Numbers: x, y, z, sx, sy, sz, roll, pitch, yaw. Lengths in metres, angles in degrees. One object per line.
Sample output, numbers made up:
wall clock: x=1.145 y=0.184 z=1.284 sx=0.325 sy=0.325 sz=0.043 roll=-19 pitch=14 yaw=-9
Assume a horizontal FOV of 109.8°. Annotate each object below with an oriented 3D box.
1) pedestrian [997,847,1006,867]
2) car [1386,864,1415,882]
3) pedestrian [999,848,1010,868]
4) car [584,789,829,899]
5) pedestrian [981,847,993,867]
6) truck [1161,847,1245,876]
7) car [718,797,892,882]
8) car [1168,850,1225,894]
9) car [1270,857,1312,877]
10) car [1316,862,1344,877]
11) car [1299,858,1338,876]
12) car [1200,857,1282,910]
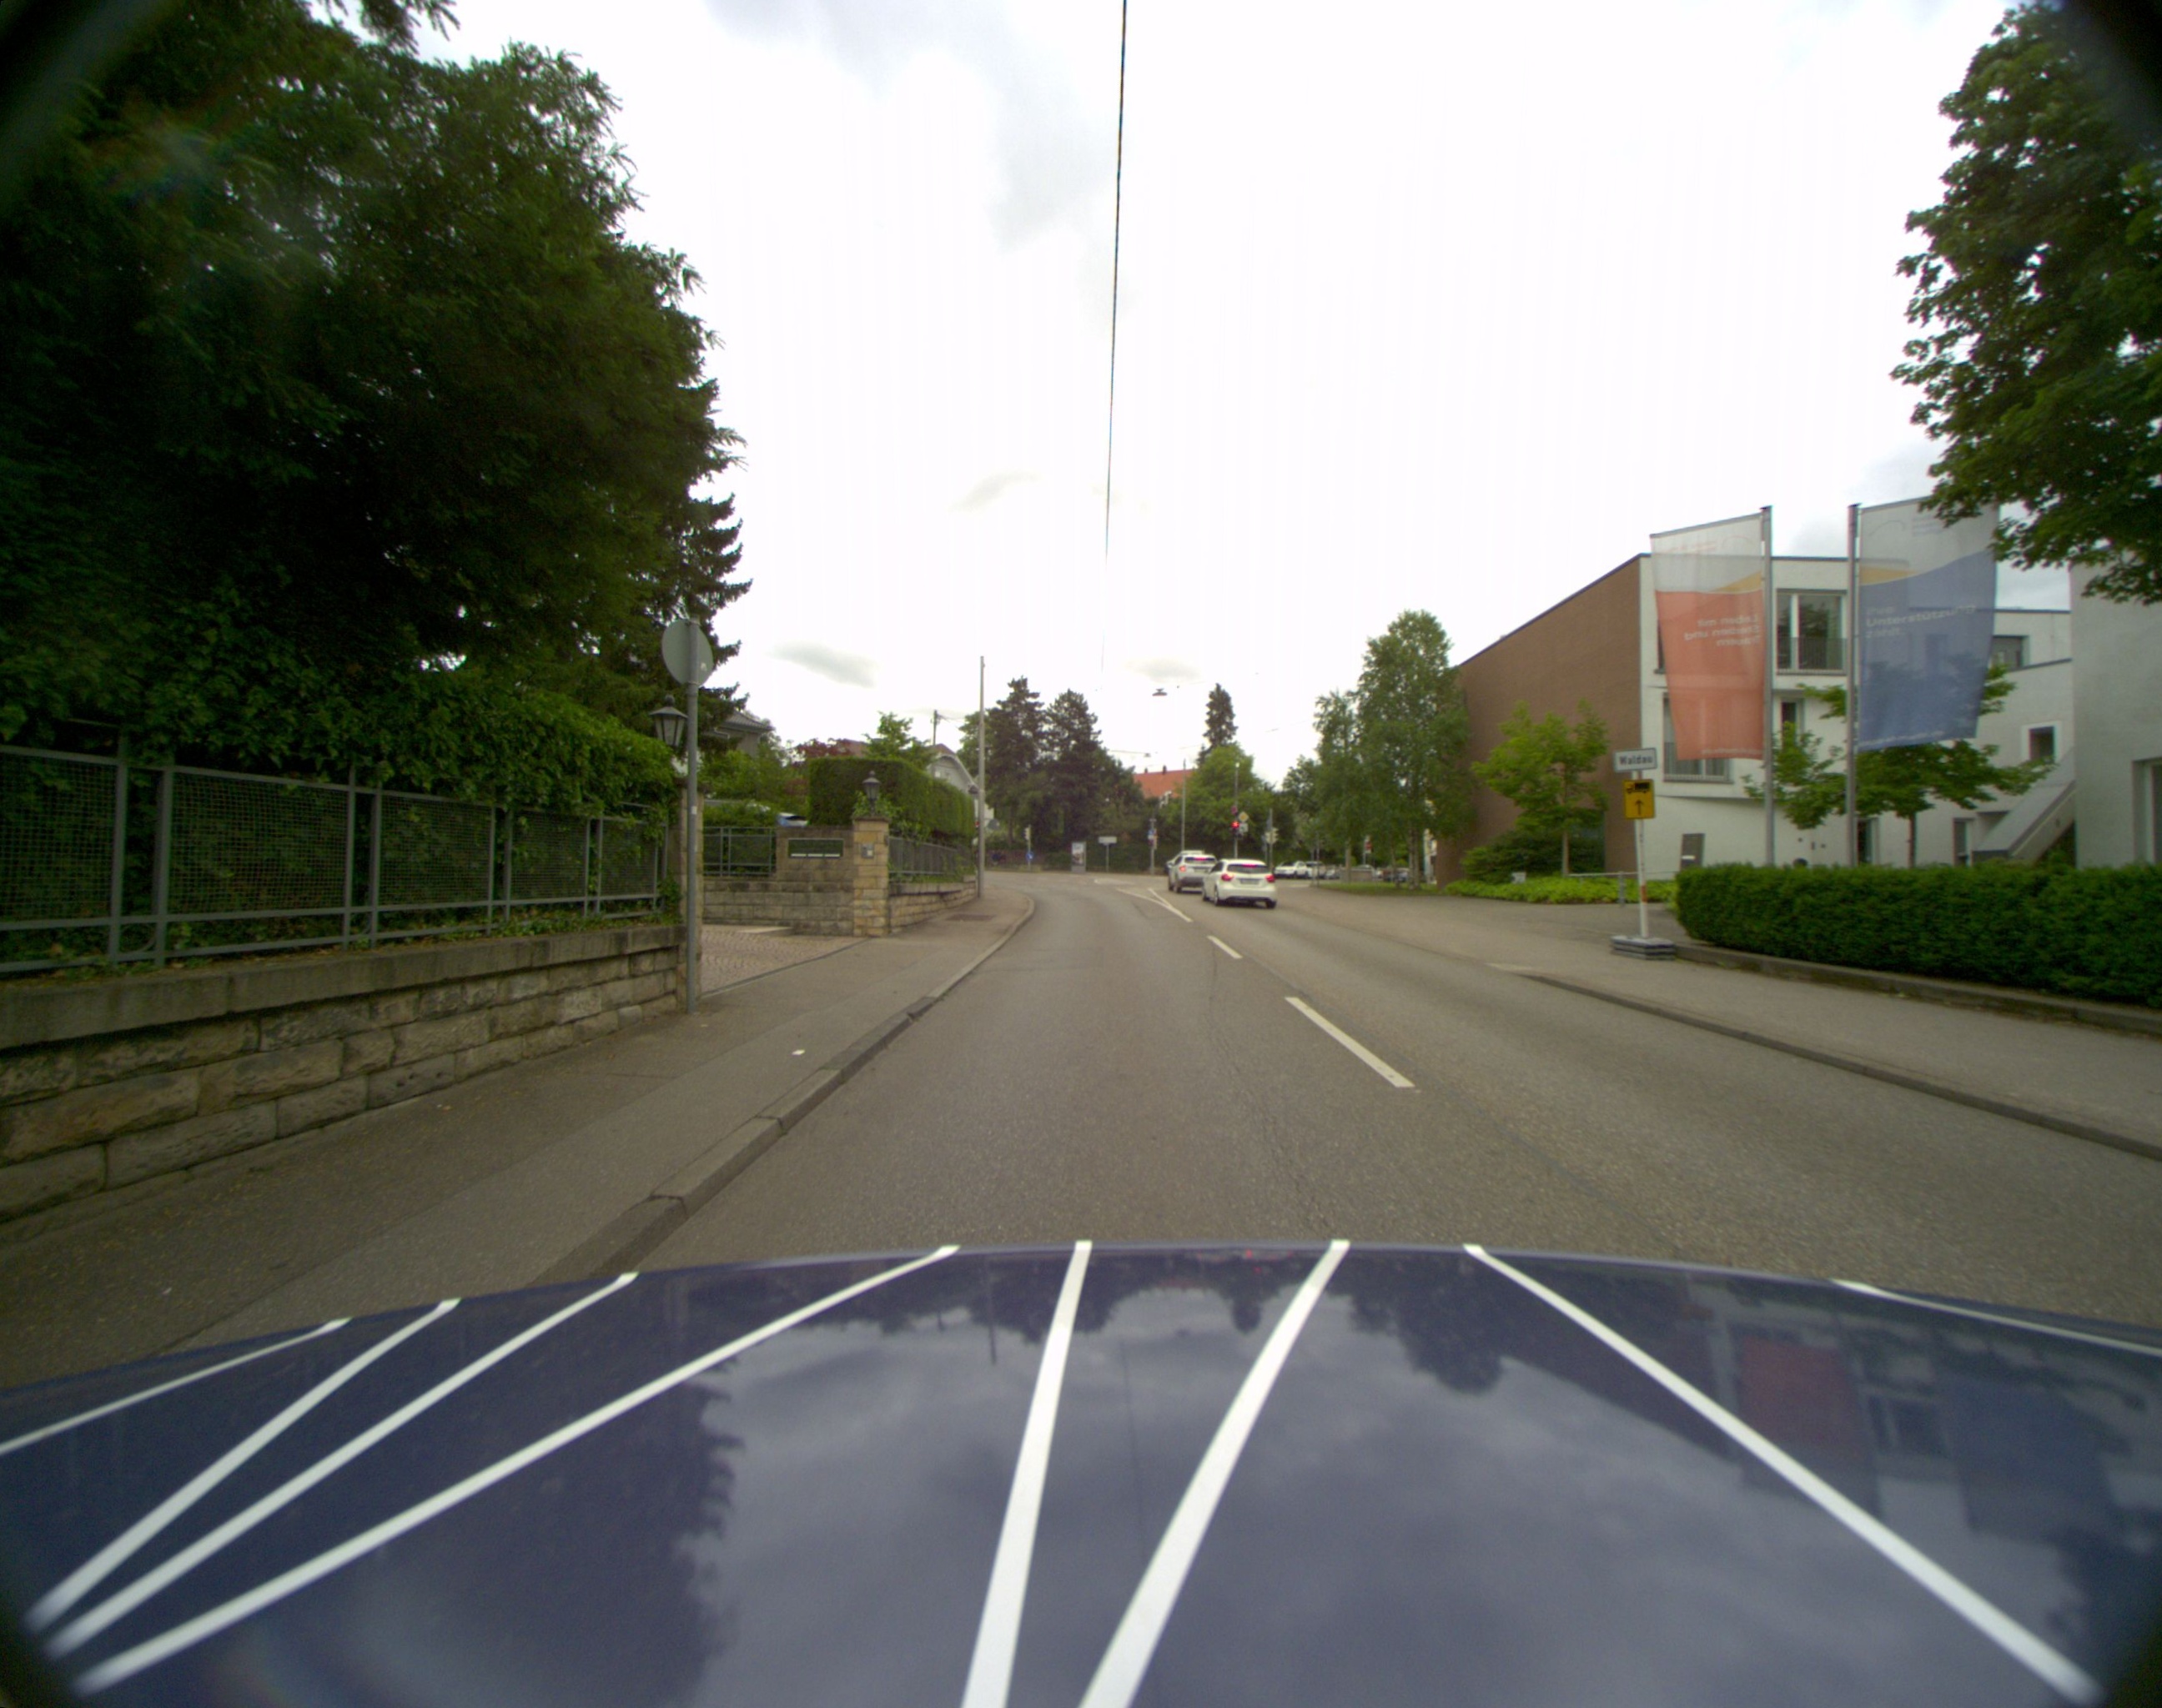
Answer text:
pedestrian: x=-7.370 y=0.244 z=70.354 sx=0.611 sy=1.824 sz=0.605 roll=2 pitch=0 yaw=28
car: x=26.568 y=1.555 z=63.085 sx=1.876 sy=1.440 sz=4.008 roll=2 pitch=0 yaw=27
pedestrian: x=-6.908 y=0.323 z=68.604 sx=0.665 sy=1.777 sz=0.614 roll=2 pitch=0 yaw=27
car: x=-7.761 y=-0.202 z=16.055 sx=3.997 sy=1.603 sz=2.000 roll=9 pitch=1 yaw=0
pedestrian: x=-8.697 y=0.263 z=70.400 sx=0.686 sy=1.803 sz=0.882 roll=2 pitch=1 yaw=30
truck: x=10.141 y=0.587 z=63.167 sx=6.706 sy=2.176 sz=2.532 roll=2 pitch=1 yaw=12
car: x=-7.220 y=-0.382 z=20.161 sx=3.749 sy=1.603 sz=1.814 roll=9 pitch=1 yaw=0
car: x=4.709 y=0.703 z=31.573 sx=1.773 sy=1.628 sz=4.302 roll=3 pitch=0 yaw=2
car: x=18.098 y=1.098 z=65.433 sx=1.994 sy=1.603 sz=4.009 roll=2 pitch=0 yaw=40
car: x=24.565 y=1.526 z=74.941 sx=1.867 sy=1.445 sz=3.738 roll=0 pitch=0 yaw=30
car: x=21.825 y=1.172 z=69.650 sx=1.994 sy=1.603 sz=4.009 roll=2 pitch=0 yaw=40
car: x=4.921 y=0.866 z=23.920 sx=1.770 sy=1.413 sz=4.065 roll=2 pitch=0 yaw=1
